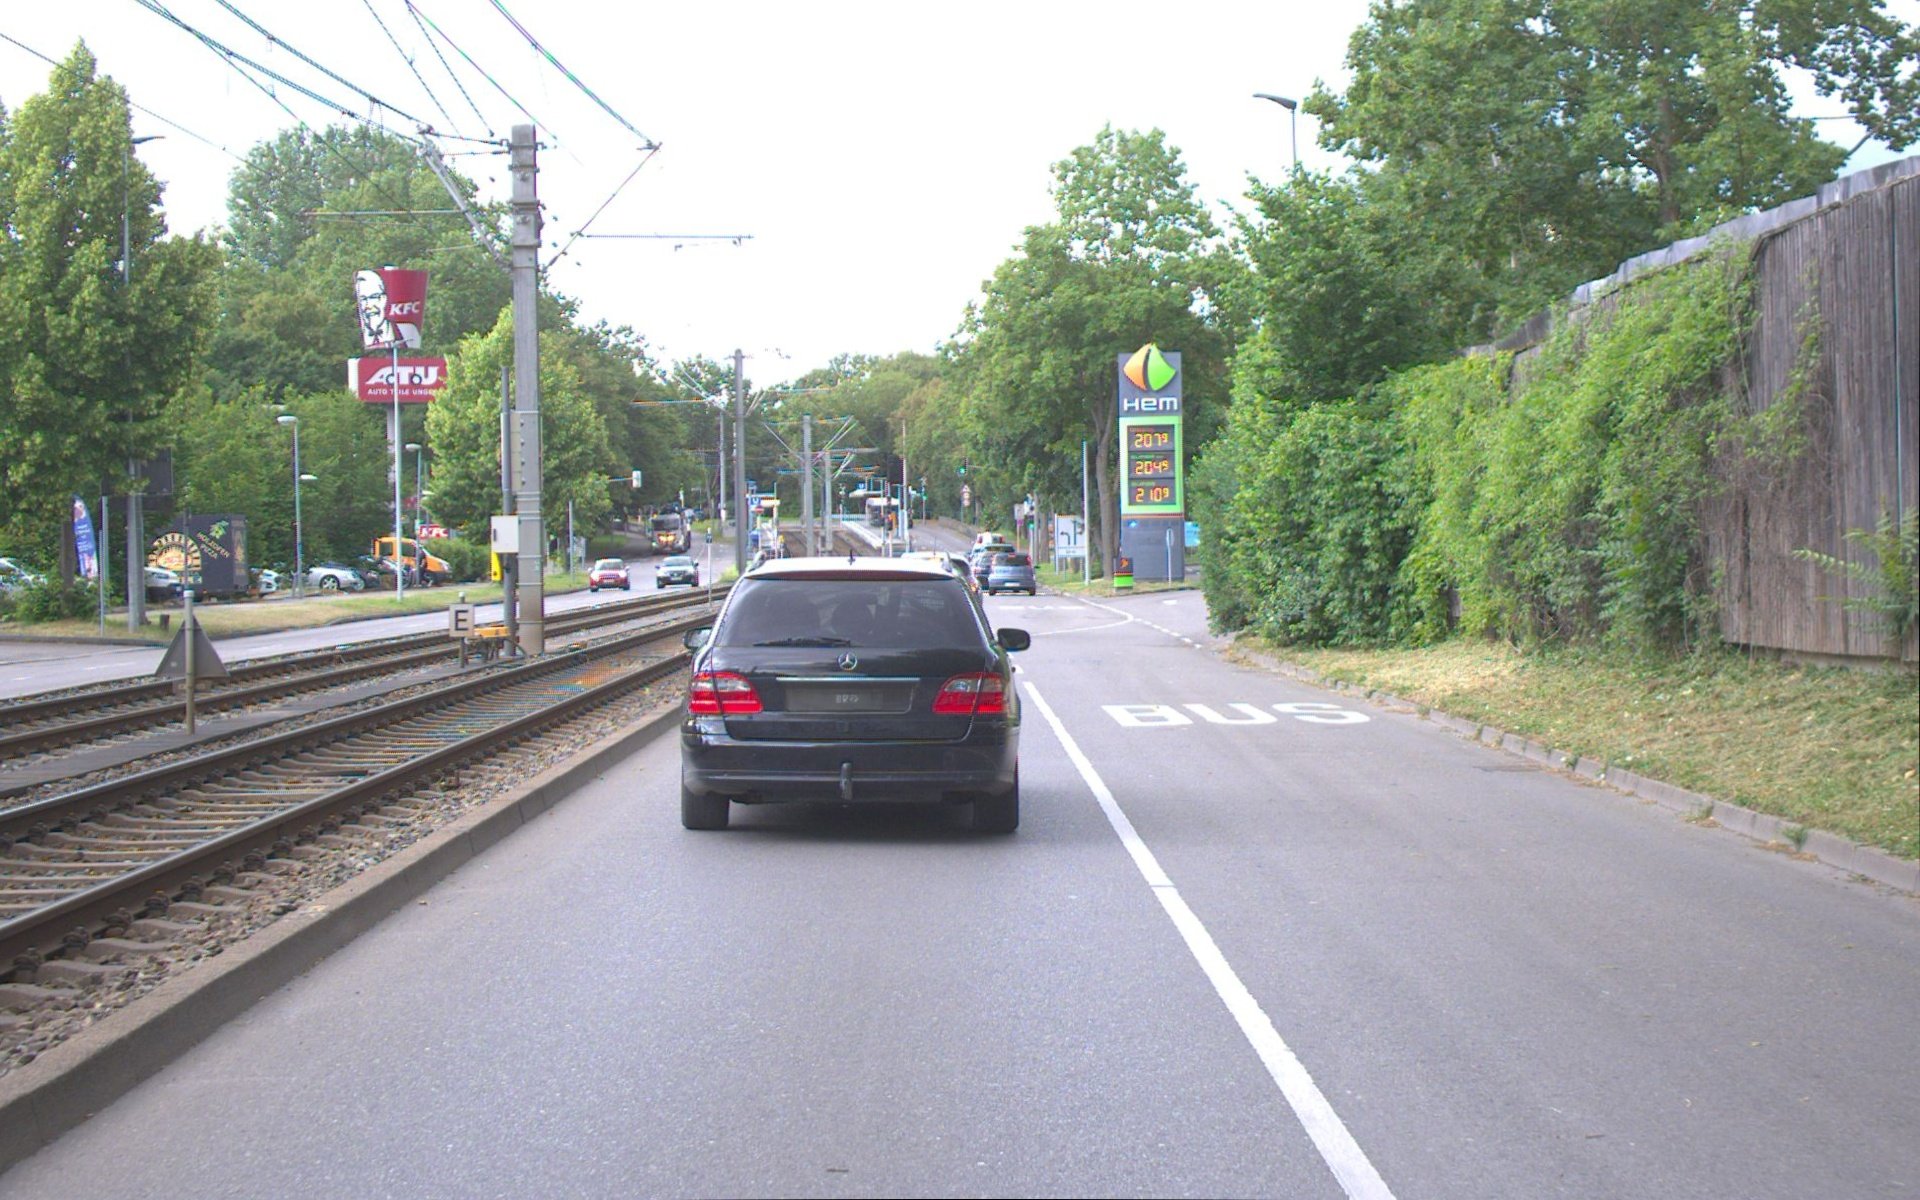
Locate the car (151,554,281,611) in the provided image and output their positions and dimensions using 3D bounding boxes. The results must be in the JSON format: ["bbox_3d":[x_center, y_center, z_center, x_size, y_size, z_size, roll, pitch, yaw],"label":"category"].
[{"bbox_3d":[-24.917,-0.591,115.202,3.986,1.791,1.878,-1,1,-5],"label":"car"}]

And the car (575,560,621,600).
[{"bbox_3d":[-16.565,-0.921,157.512,1.792,1.766,4.000,-1,1,-2],"label":"car"}]

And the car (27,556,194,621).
[{"bbox_3d":[-23.874,-0.340,96.734,4.220,1.721,1.996,-1,1,-2],"label":"car"}]

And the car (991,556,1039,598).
[{"bbox_3d":[1.896,-0.787,119.184,1.571,1.410,3.354,1,0,0],"label":"car"}]

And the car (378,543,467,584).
[{"bbox_3d":[-25.323,-1.721,162.075,3.986,1.791,1.878,-2,1,-5],"label":"car"}]

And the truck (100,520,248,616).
[{"bbox_3d":[-24.094,-0.982,105.525,3.986,2.812,2.376,-1,1,-3],"label":"truck"}]

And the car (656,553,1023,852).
[{"bbox_3d":[-0.609,0.484,18.963,1.808,1.469,3.881,0,1,0],"label":"car"}]

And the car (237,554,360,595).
[{"bbox_3d":[-24.812,-0.975,128.993,4.306,1.467,1.680,-1,1,-2],"label":"car"}]

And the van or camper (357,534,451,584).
[{"bbox_3d":[-25.071,-1.844,155.058,3.986,2.127,1.878,-1,1,-5],"label":"van or camper"}]

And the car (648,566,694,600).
[{"bbox_3d":[-13.173,-0.791,156.768,1.759,1.396,4.444,-3,1,-1],"label":"car"}]

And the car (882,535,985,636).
[{"bbox_3d":[-0.480,-0.263,62.303,1.780,1.744,3.718,1,0,0],"label":"car"}]
